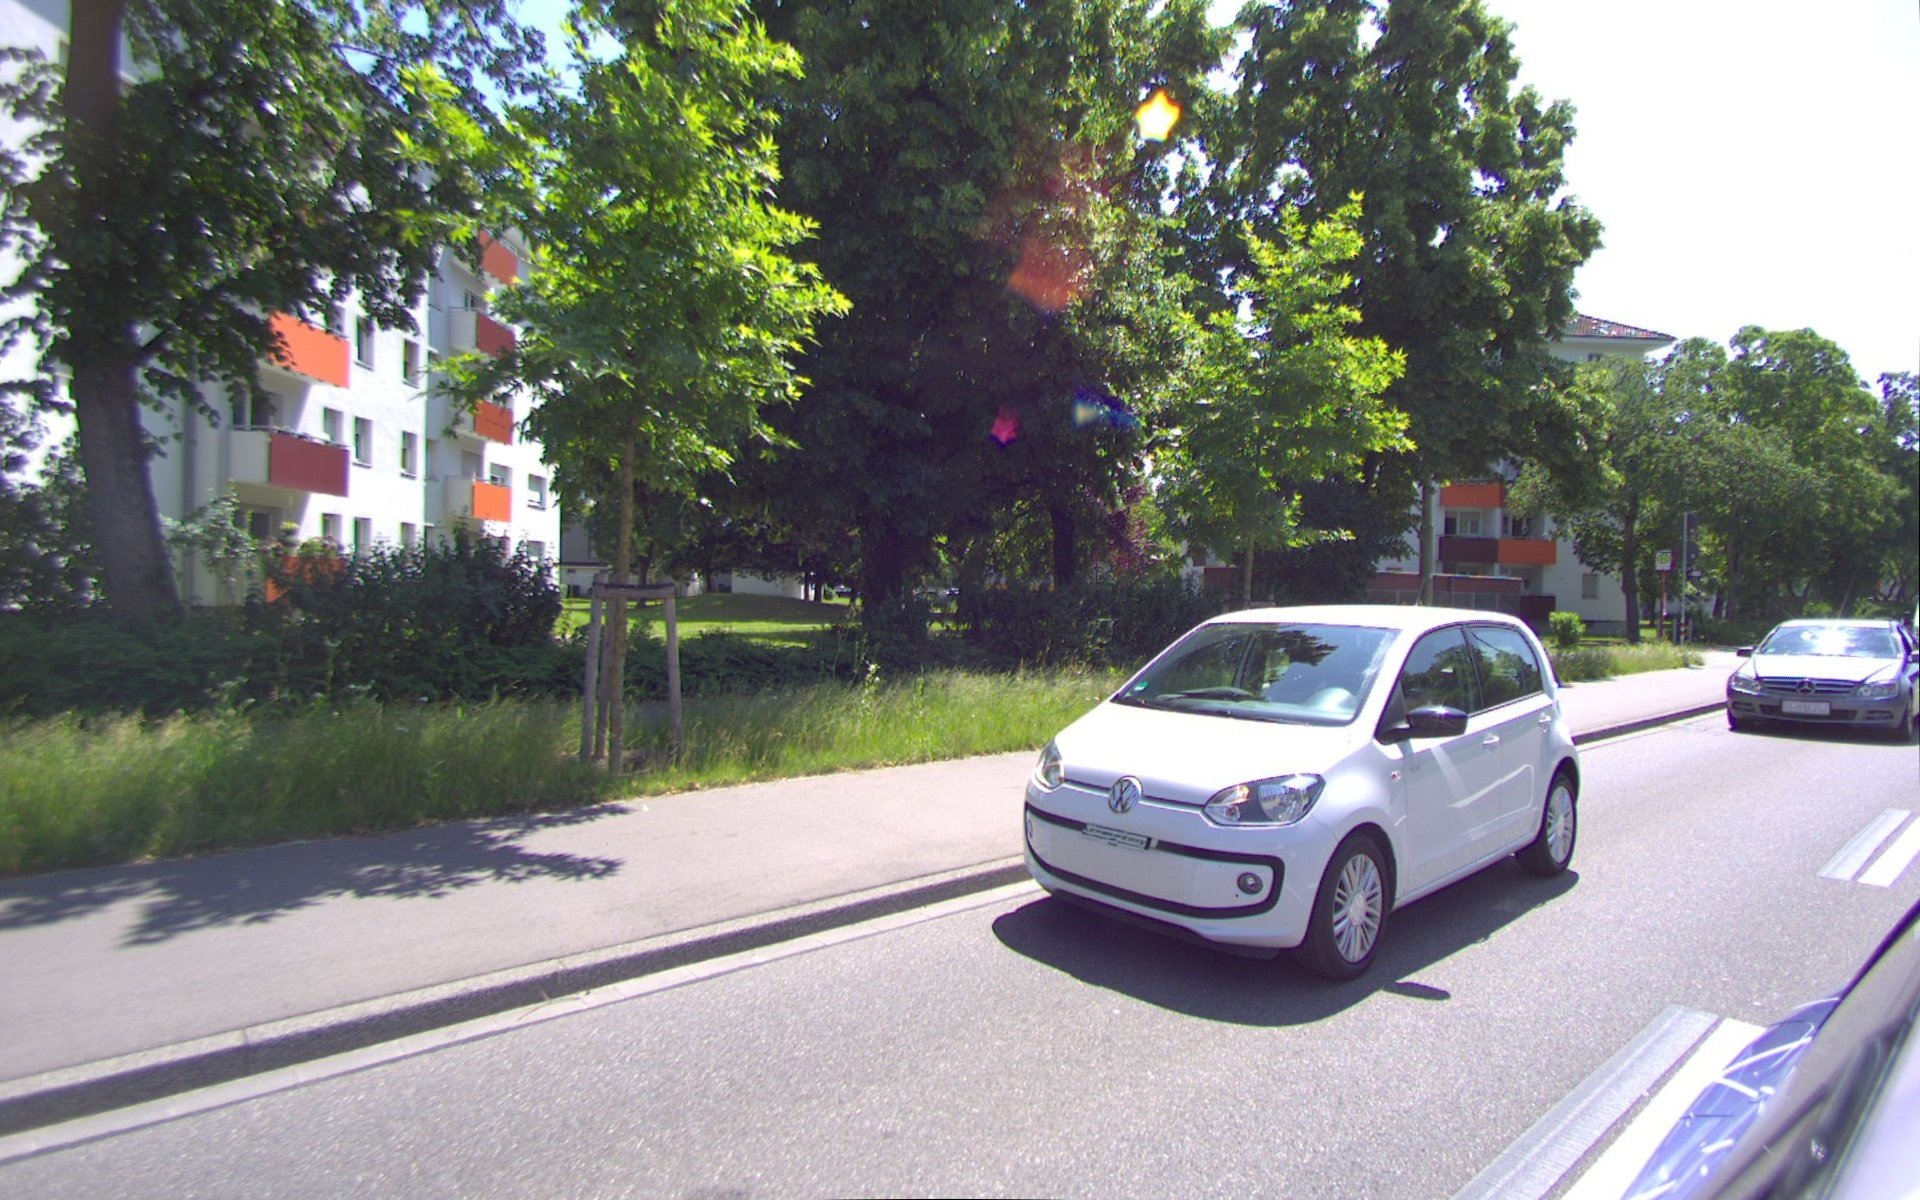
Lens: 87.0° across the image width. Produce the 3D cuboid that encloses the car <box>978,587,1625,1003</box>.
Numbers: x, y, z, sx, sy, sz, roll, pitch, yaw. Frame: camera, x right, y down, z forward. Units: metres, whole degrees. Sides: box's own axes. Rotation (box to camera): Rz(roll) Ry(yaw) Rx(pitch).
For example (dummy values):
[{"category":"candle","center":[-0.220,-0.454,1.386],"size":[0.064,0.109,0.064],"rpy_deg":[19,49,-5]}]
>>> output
[{"category":"car","center":[2.044,0.694,5.463],"size":[3.787,1.468,1.661],"rpy_deg":[0,0,-41]}]

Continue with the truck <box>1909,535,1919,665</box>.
[{"category":"truck","center":[28.368,0.018,27.747],"size":[8.161,3.319,2.294],"rpy_deg":[0,0,-39]}]

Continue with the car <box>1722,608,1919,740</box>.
[{"category":"car","center":[11.668,0.854,13.328],"size":[3.903,1.478,1.901],"rpy_deg":[1,-1,-42]}]

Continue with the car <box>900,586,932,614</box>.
[{"category":"car","center":[-2.918,-0.027,67.455],"size":[1.841,1.746,3.924],"rpy_deg":[1,0,2]}]
